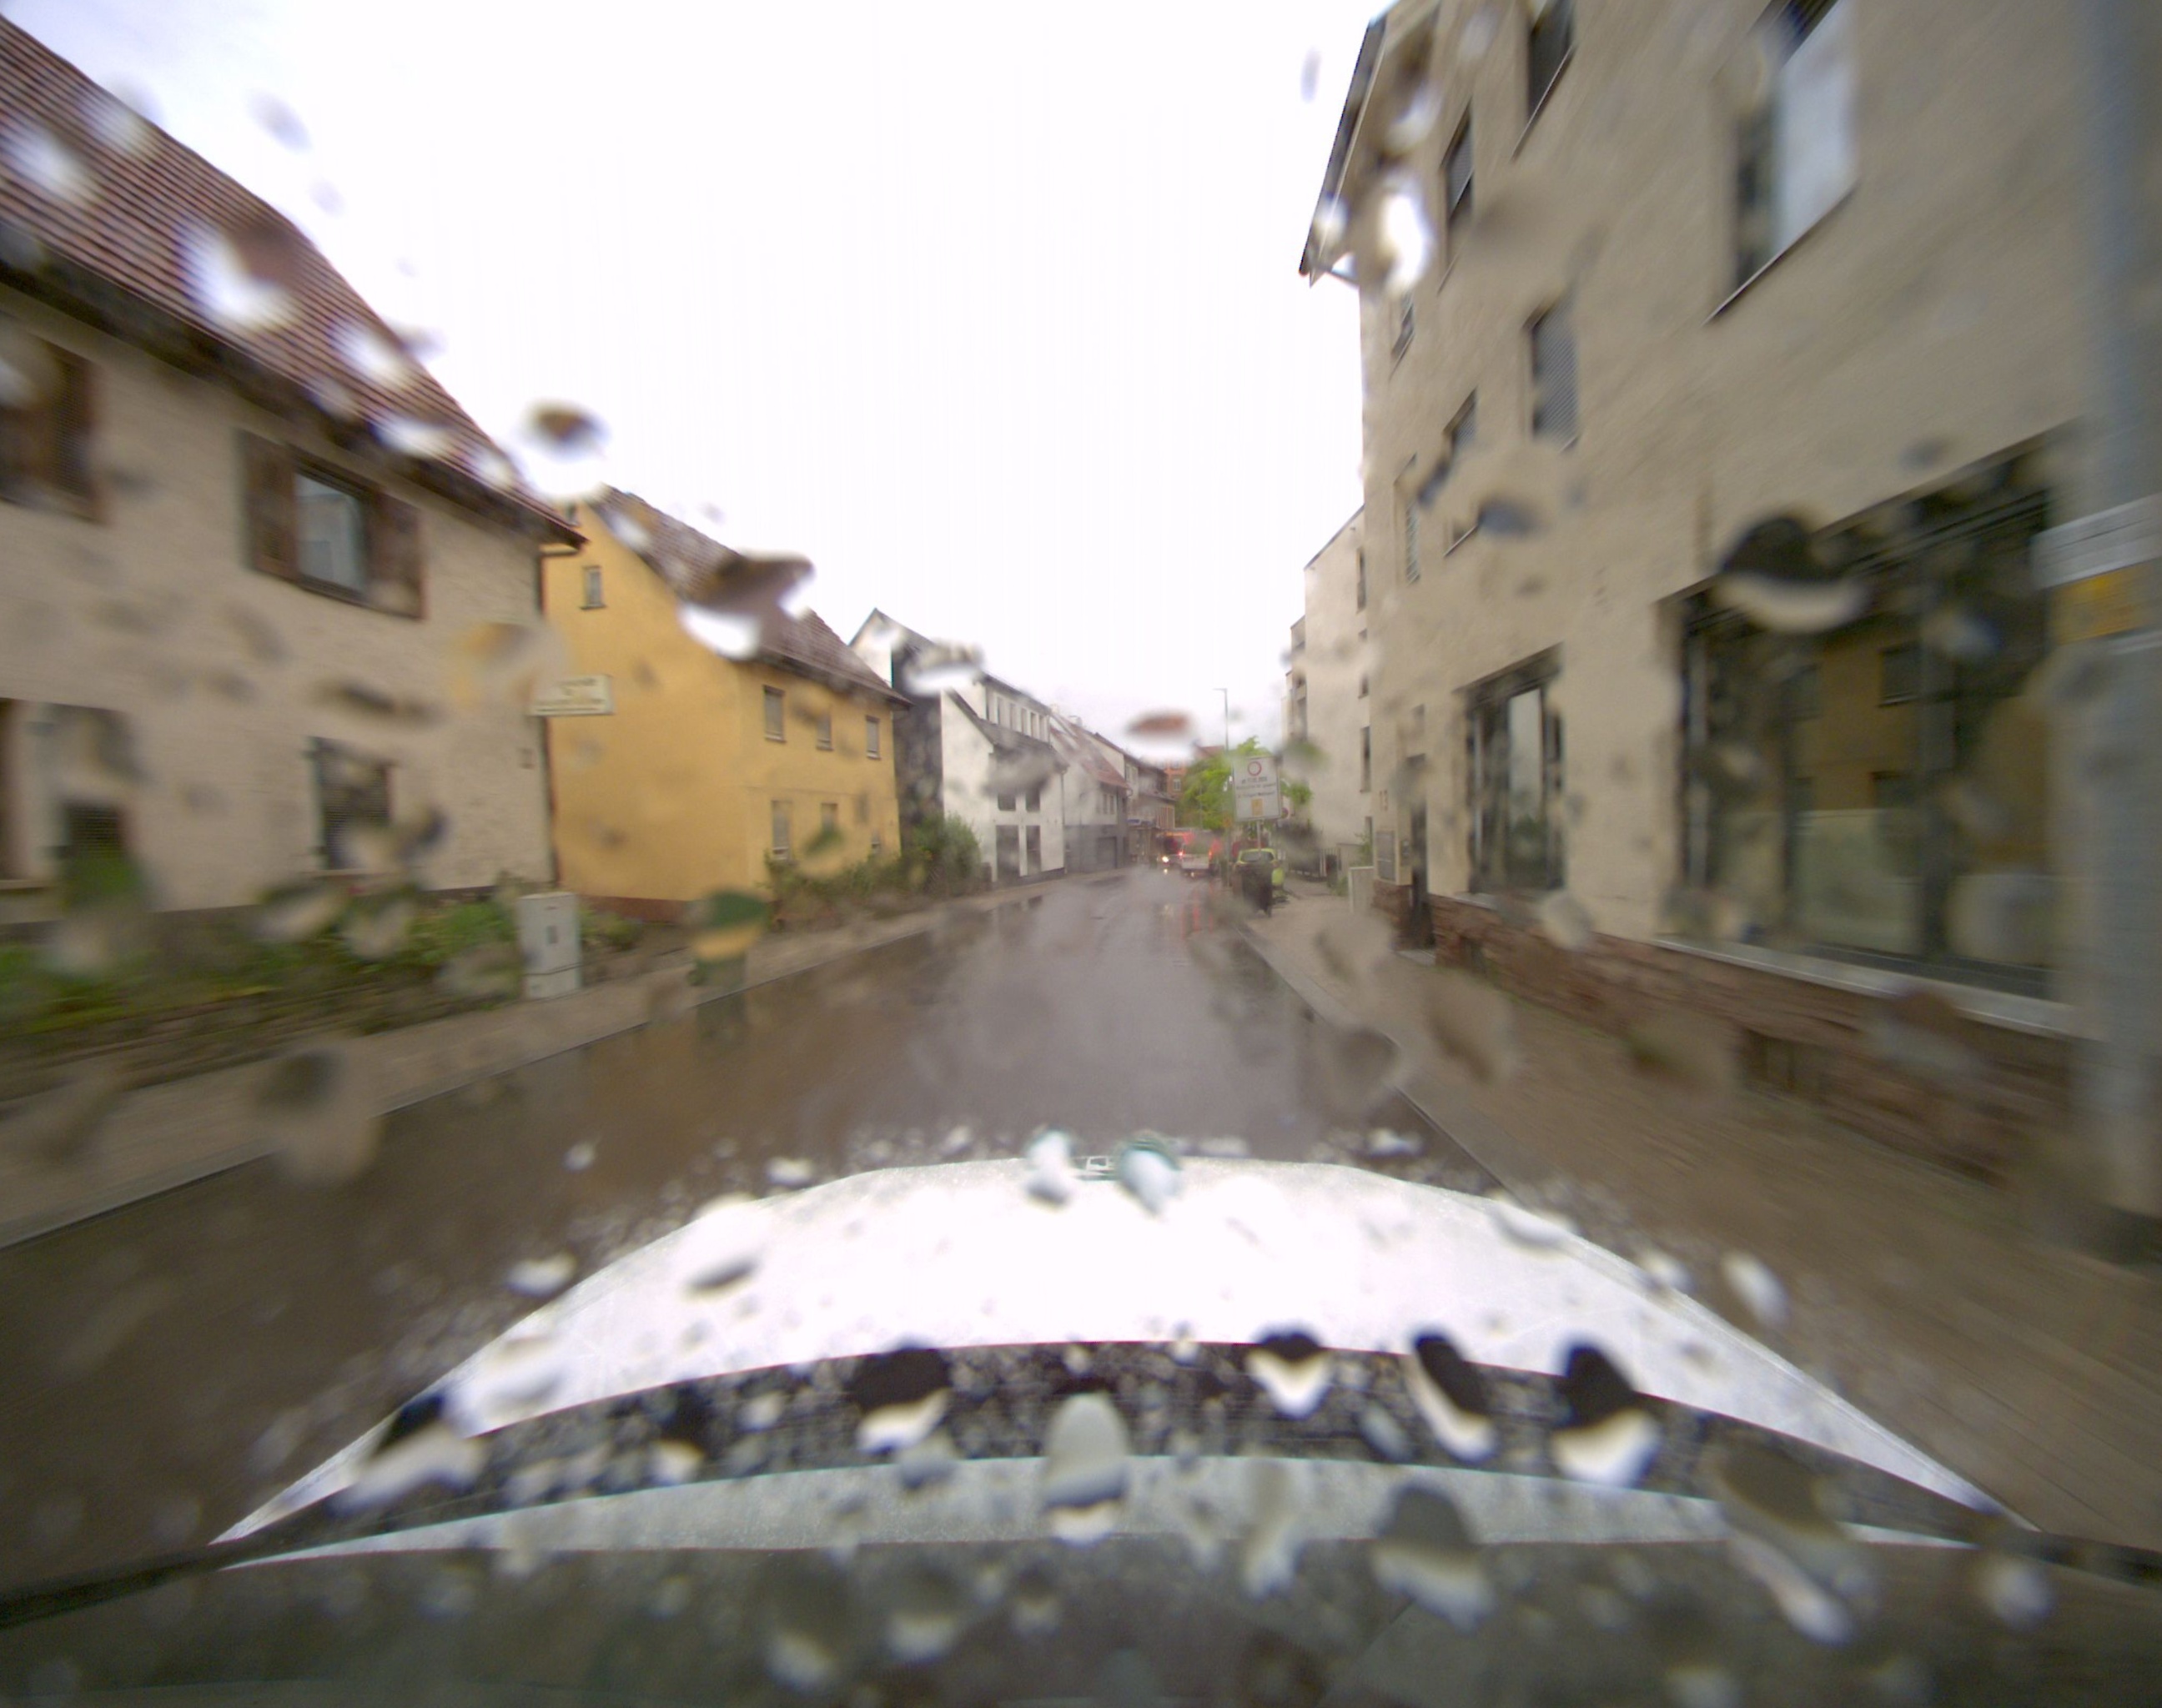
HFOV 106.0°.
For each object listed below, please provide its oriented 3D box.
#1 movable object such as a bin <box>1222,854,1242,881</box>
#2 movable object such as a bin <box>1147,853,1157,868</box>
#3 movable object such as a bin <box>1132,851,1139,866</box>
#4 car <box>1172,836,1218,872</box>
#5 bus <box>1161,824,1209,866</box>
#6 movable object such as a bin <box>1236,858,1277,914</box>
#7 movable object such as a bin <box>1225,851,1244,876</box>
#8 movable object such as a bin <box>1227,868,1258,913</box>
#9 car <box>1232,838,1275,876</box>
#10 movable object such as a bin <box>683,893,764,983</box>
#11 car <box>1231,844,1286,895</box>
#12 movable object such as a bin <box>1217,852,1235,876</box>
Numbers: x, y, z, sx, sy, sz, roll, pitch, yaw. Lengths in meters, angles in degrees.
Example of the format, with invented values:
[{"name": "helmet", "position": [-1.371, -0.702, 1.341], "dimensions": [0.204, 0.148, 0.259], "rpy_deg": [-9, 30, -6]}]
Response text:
[{"name": "movable object such as a bin", "position": [6.481, 0.560, 34.876], "dimensions": [0.805, 1.109, 0.989], "rpy_deg": [-2, 0, 12]}, {"name": "movable object such as a bin", "position": [5.341, 0.503, 61.162], "dimensions": [0.630, 1.122, 0.521], "rpy_deg": [-2, -1, 9]}, {"name": "movable object such as a bin", "position": [4.209, 0.333, 62.682], "dimensions": [0.515, 1.122, 0.636], "rpy_deg": [-1, 0, 5]}, {"name": "car", "position": [6.528, -0.010, 46.263], "dimensions": [2.180, 1.851, 4.319], "rpy_deg": [-2, 0, 13]}, {"name": "bus", "position": [8.650, -0.790, 66.879], "dimensions": [2.720, 3.130, 9.269], "rpy_deg": [-2, 1, 14]}, {"name": "movable object such as a bin", "position": [3.918, 0.694, 18.281], "dimensions": [0.763, 1.173, 1.544], "rpy_deg": [-1, 0, 8]}, {"name": "movable object such as a bin", "position": [7.192, 0.449, 38.175], "dimensions": [0.805, 1.109, 0.989], "rpy_deg": [-2, -1, 12]}, {"name": "movable object such as a bin", "position": [3.922, 0.887, 19.776], "dimensions": [0.702, 1.046, 0.519], "rpy_deg": [-2, -1, 10]}, {"name": "car", "position": [8.484, 0.137, 39.776], "dimensions": [1.698, 1.762, 4.017], "rpy_deg": [-2, 0, 16]}, {"name": "movable object such as a bin", "position": [-4.552, 1.056, 10.400], "dimensions": [0.657, 1.056, 0.764], "rpy_deg": [1, 0, 3]}, {"name": "car", "position": [5.902, 0.478, 27.366], "dimensions": [1.593, 1.484, 3.311], "rpy_deg": [-4, 0, 10]}, {"name": "movable object such as a bin", "position": [7.356, 0.493, 41.256], "dimensions": [0.804, 1.185, 0.990], "rpy_deg": [-2, 0, 15]}]
